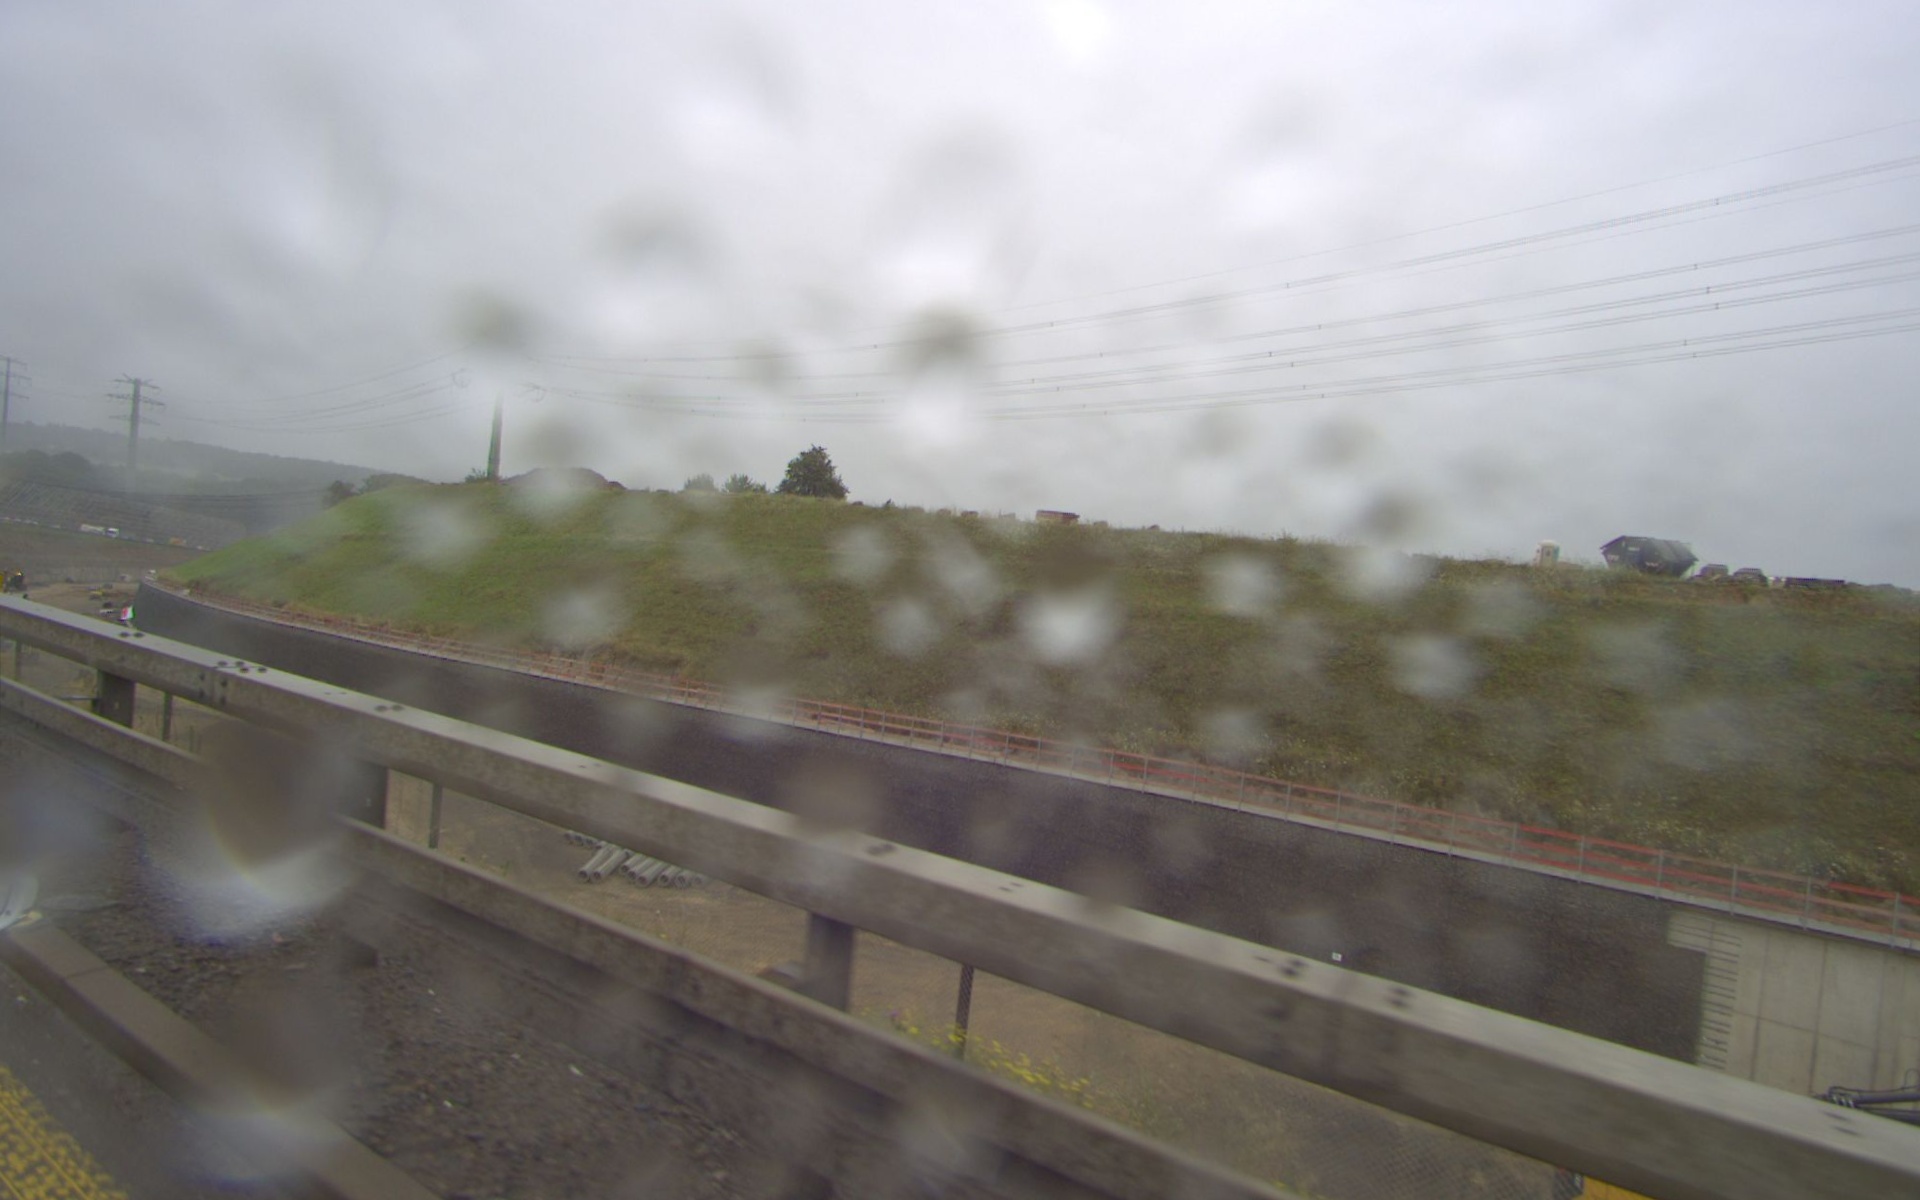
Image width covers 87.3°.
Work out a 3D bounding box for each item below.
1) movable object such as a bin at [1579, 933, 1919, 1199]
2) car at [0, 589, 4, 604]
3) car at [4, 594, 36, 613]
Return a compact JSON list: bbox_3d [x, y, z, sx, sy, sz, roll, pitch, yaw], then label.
[{"bbox_3d":[18.217,10.549,17.879,11.894,5.730,4.906,3,-4,32],"label":"movable object such as a bin"},{"bbox_3d":[-138.211,-0.598,143.531,3.943,1.837,1.992,6,-2,40],"label":"car"},{"bbox_3d":[-124.731,0.459,133.436,3.940,2.036,2.366,6,-2,38],"label":"car"}]
